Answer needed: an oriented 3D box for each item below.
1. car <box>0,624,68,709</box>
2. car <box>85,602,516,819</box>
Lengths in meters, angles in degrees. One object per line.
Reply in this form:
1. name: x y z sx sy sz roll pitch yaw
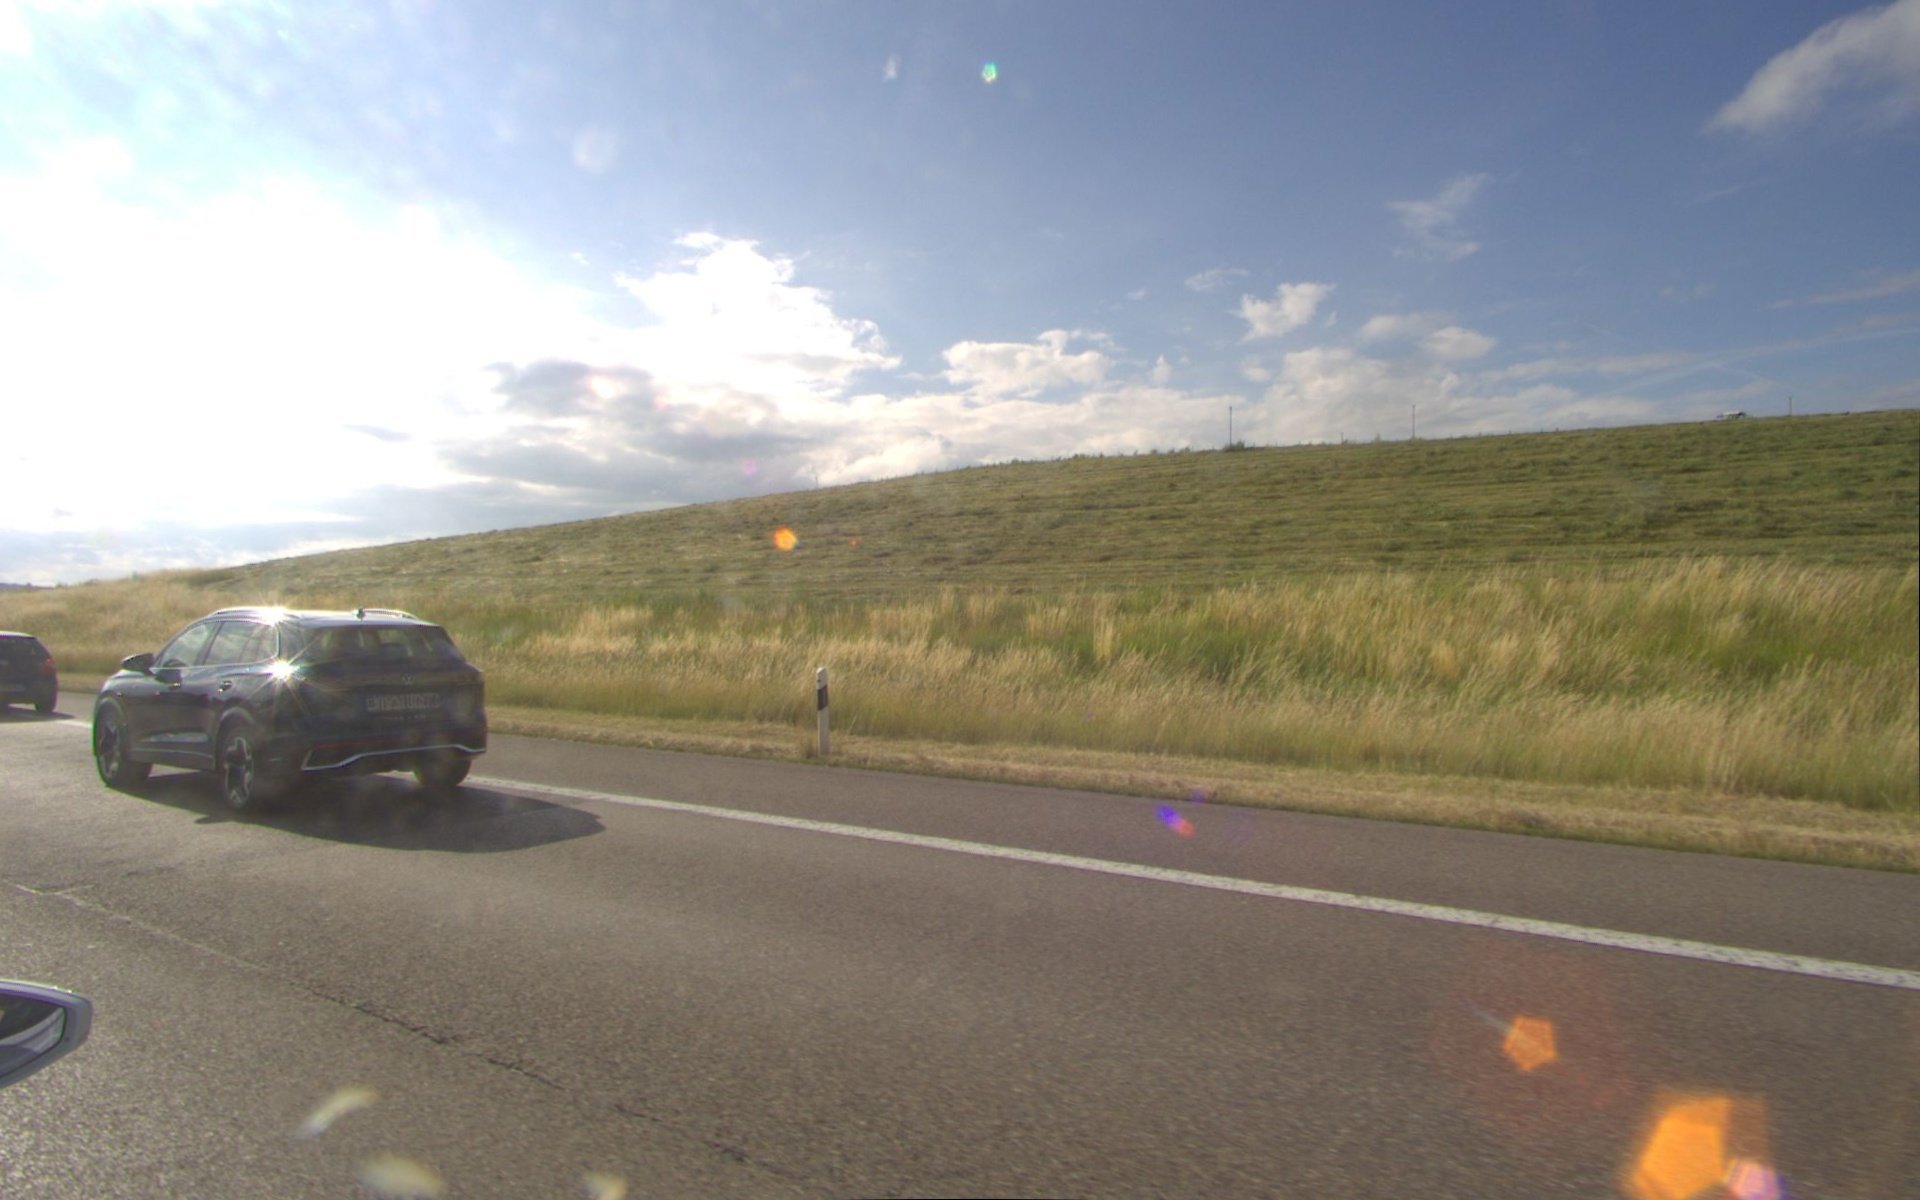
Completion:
1. car: -17.808 1.169 18.098 3.620 1.438 1.603 -1 -1 33
2. car: -6.260 0.905 9.400 4.175 1.621 1.818 -1 -3 32
